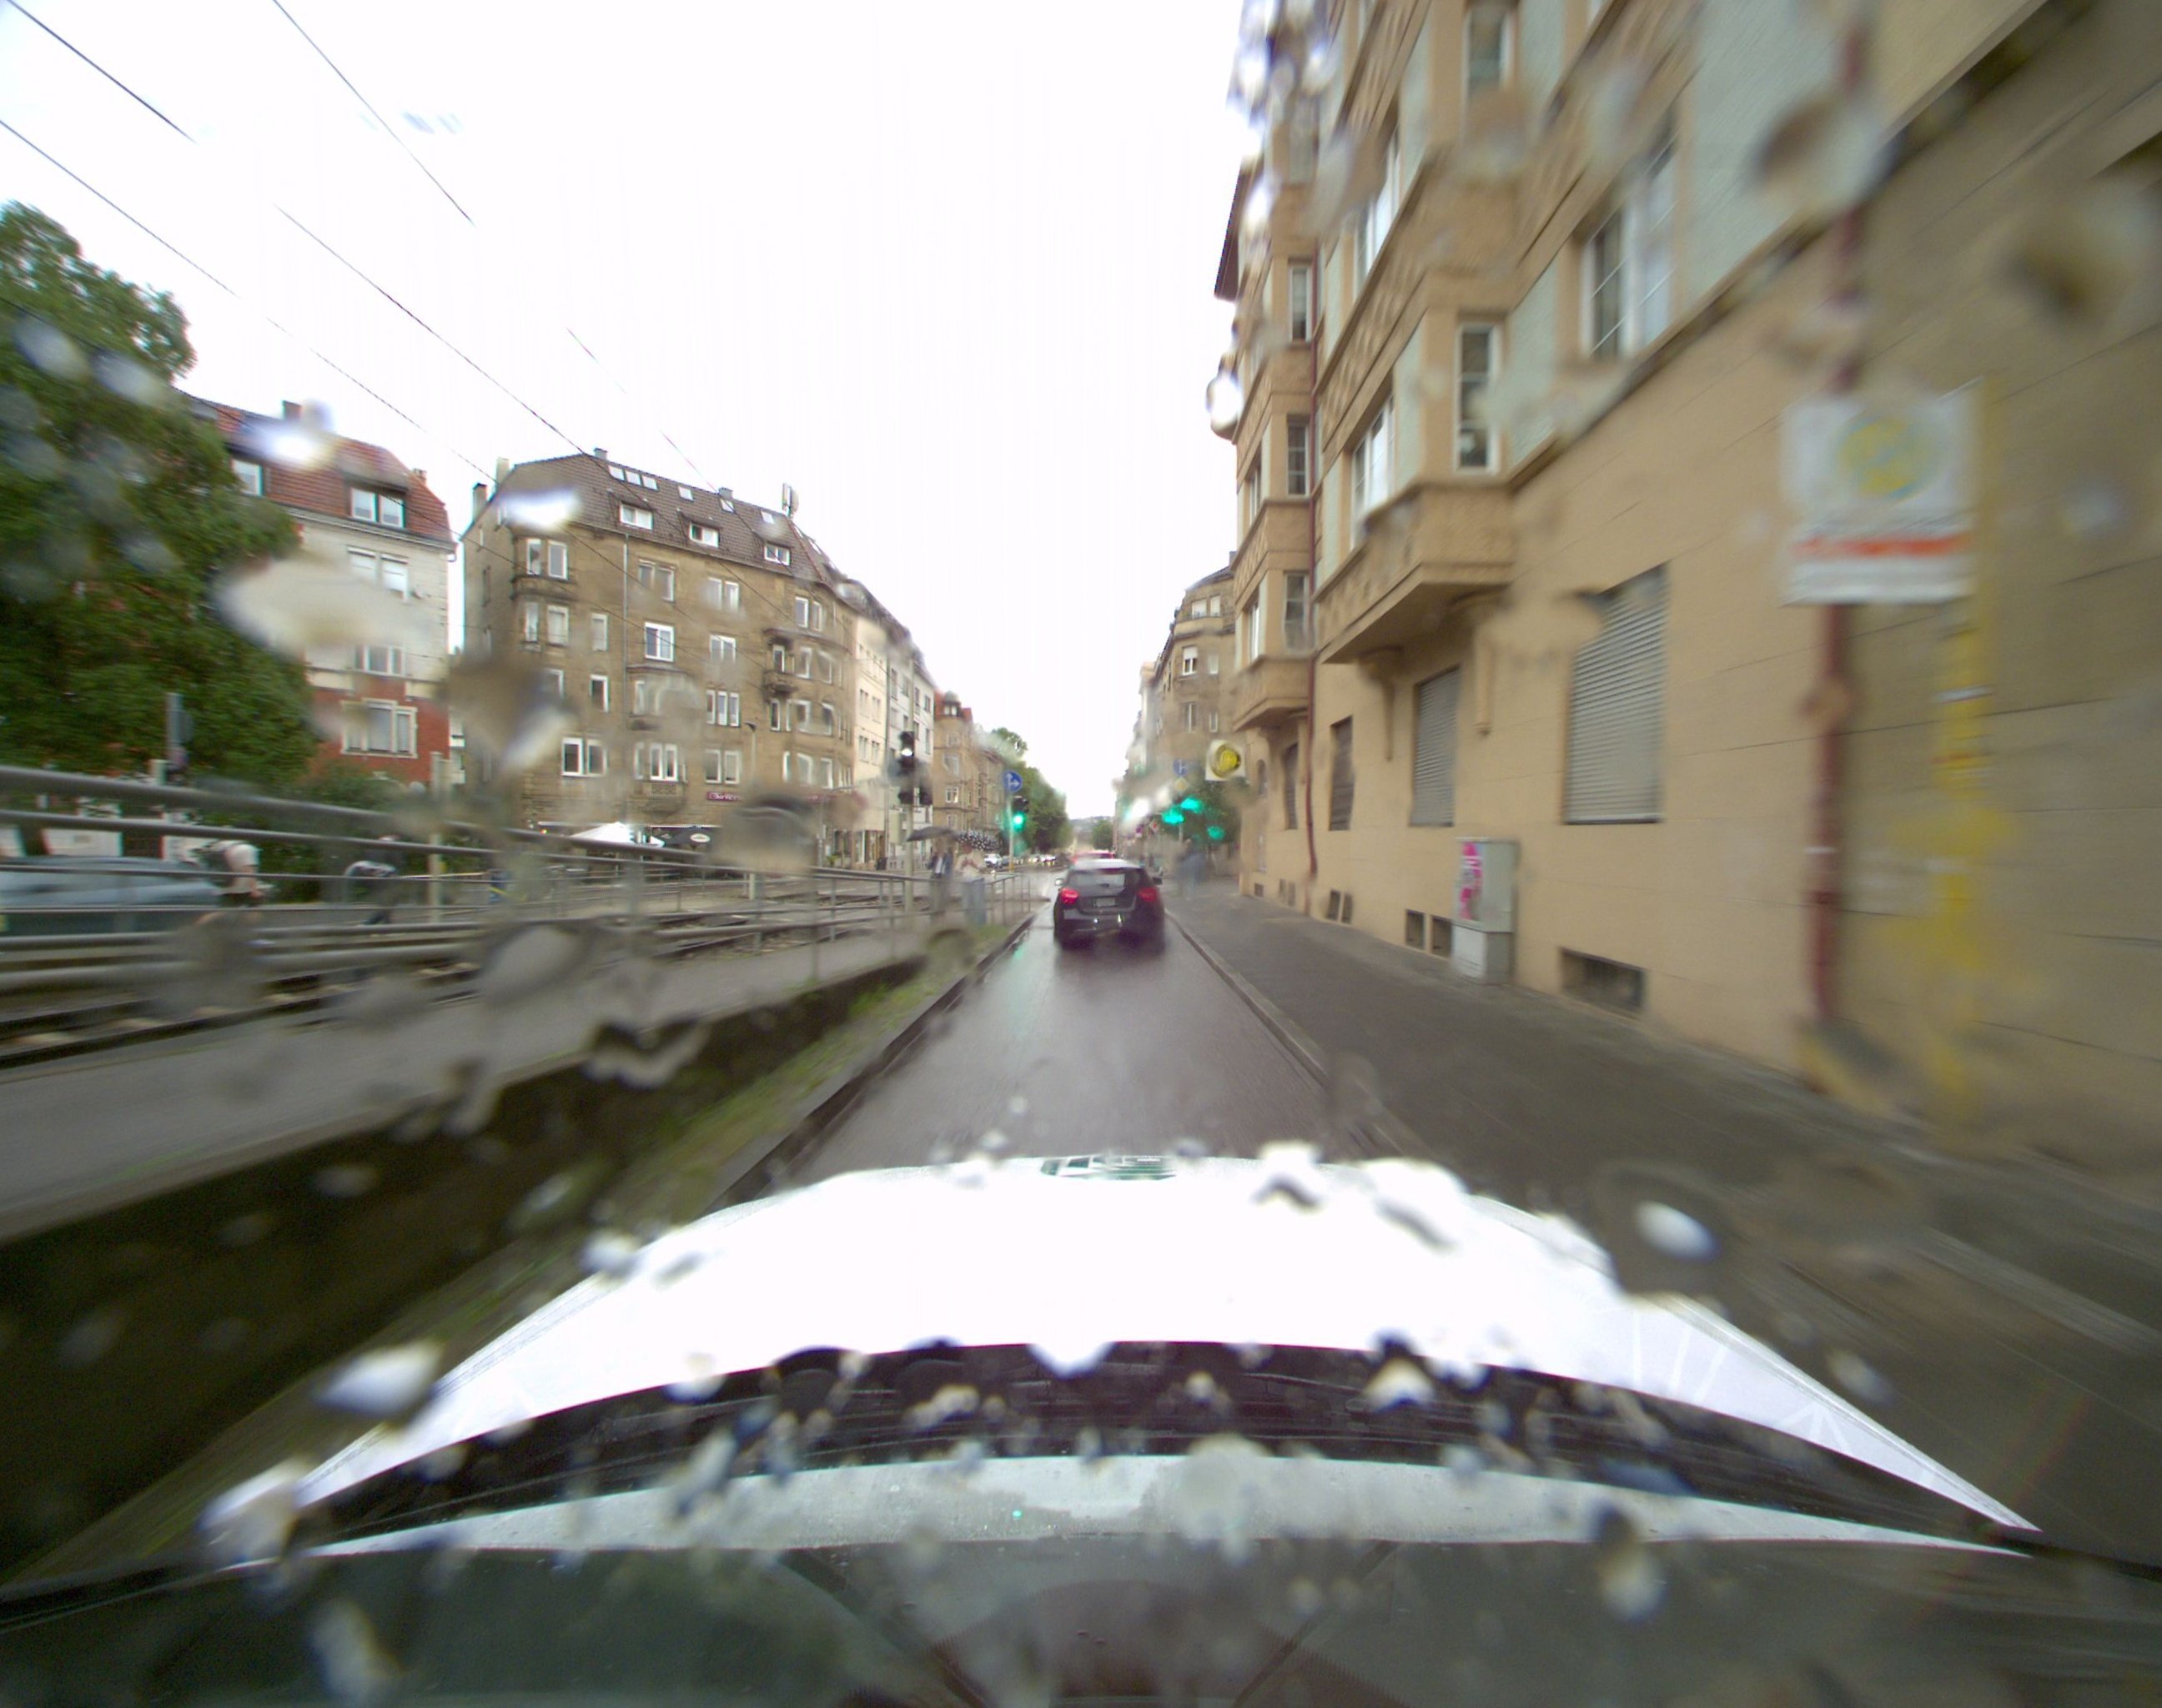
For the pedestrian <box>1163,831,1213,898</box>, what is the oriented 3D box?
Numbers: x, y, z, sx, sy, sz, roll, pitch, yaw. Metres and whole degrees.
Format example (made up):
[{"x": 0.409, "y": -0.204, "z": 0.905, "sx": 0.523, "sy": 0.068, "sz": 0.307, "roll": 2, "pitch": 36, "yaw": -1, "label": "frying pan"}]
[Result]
[{"x": 3.070, "y": 0.300, "z": 23.409, "sx": 0.907, "sy": 1.840, "sz": 0.956, "roll": -3, "pitch": -1, "yaw": -42, "label": "pedestrian"}]

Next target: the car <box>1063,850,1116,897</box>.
[{"x": 0.248, "y": 0.605, "z": 27.439, "sx": 1.644, "sy": 1.452, "sz": 3.998, "roll": 0, "pitch": 0, "yaw": -1, "label": "car"}]

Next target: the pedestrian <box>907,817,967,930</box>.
[{"x": -2.623, "y": 0.345, "z": 14.947, "sx": 0.893, "sy": 2.013, "sz": 0.948, "roll": 0, "pitch": 0, "yaw": 1, "label": "pedestrian"}]

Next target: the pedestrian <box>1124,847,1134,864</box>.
[{"x": 4.971, "y": 0.154, "z": 83.807, "sx": 0.942, "sy": 1.769, "sz": 1.015, "roll": -1, "pitch": 0, "yaw": -1, "label": "pedestrian"}]

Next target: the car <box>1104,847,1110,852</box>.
[{"x": 7.071, "y": -1.240, "z": 218.915, "sx": 1.607, "sy": 1.317, "sz": 4.001, "roll": 1, "pitch": 0, "yaw": 2, "label": "car"}]

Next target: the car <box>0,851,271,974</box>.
[{"x": -13.957, "y": 0.714, "z": 10.759, "sx": 1.637, "sy": 1.497, "sz": 4.766, "roll": 0, "pitch": 0, "yaw": 2, "label": "car"}]

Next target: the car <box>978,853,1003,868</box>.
[{"x": -10.192, "y": 0.748, "z": 91.864, "sx": 1.986, "sy": 1.628, "sz": 5.254, "roll": -1, "pitch": -1, "yaw": 2, "label": "car"}]

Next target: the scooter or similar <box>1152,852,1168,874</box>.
[{"x": 4.515, "y": 0.525, "z": 46.577, "sx": 0.636, "sy": 1.210, "sz": 1.551, "roll": -1, "pitch": 0, "yaw": -3, "label": "scooter or similar"}]

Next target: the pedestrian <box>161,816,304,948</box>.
[{"x": -10.650, "y": 0.354, "z": 10.263, "sx": 0.690, "sy": 1.583, "sz": 0.956, "roll": 0, "pitch": -3, "yaw": 2, "label": "pedestrian"}]

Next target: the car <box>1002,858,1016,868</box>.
[{"x": -11.166, "y": 1.360, "z": 126.077, "sx": 1.562, "sy": 1.413, "sz": 3.484, "roll": -1, "pitch": 0, "yaw": 3, "label": "car"}]

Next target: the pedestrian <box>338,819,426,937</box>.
[{"x": -11.091, "y": 0.399, "z": 12.959, "sx": 0.509, "sy": 1.819, "sz": 0.799, "roll": 0, "pitch": -6, "yaw": 2, "label": "pedestrian"}]

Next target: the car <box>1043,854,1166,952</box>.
[{"x": 0.472, "y": 0.736, "z": 14.241, "sx": 1.858, "sy": 1.452, "sz": 4.004, "roll": 0, "pitch": 0, "yaw": 3, "label": "car"}]

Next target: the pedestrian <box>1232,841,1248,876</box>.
[{"x": 8.106, "y": 0.231, "z": 41.554, "sx": 0.592, "sy": 1.788, "sz": 0.890, "roll": -2, "pitch": -1, "yaw": -2, "label": "pedestrian"}]

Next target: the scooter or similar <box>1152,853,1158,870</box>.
[{"x": 5.632, "y": 0.561, "z": 62.004, "sx": 0.394, "sy": 1.216, "sz": 1.107, "roll": -1, "pitch": 0, "yaw": 0, "label": "scooter or similar"}]

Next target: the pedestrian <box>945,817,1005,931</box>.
[{"x": -1.921, "y": 0.353, "z": 14.893, "sx": 0.922, "sy": 2.013, "sz": 0.948, "roll": 0, "pitch": 0, "yaw": 1, "label": "pedestrian"}]

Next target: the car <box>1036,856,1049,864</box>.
[{"x": -7.130, "y": 1.124, "z": 150.095, "sx": 1.941, "sy": 1.396, "sz": 4.276, "roll": -2, "pitch": 0, "yaw": 2, "label": "car"}]

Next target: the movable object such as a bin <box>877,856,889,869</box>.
[{"x": -16.240, "y": 0.682, "z": 66.807, "sx": 0.710, "sy": 1.074, "sz": 0.687, "roll": 3, "pitch": 0, "yaw": 1, "label": "movable object such as a bin"}]

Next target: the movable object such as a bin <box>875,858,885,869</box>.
[{"x": -16.313, "y": 0.772, "z": 66.120, "sx": 0.591, "sy": 0.911, "sz": 0.560, "roll": 3, "pitch": 0, "yaw": 1, "label": "movable object such as a bin"}]

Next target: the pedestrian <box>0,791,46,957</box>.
[{"x": -11.116, "y": 0.195, "z": 8.102, "sx": 0.741, "sy": 1.647, "sz": 0.641, "roll": 0, "pitch": -2, "yaw": 1, "label": "pedestrian"}]

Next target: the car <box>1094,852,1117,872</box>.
[{"x": 2.017, "y": 0.646, "z": 67.112, "sx": 1.759, "sy": 1.559, "sz": 4.747, "roll": -1, "pitch": 0, "yaw": 2, "label": "car"}]
